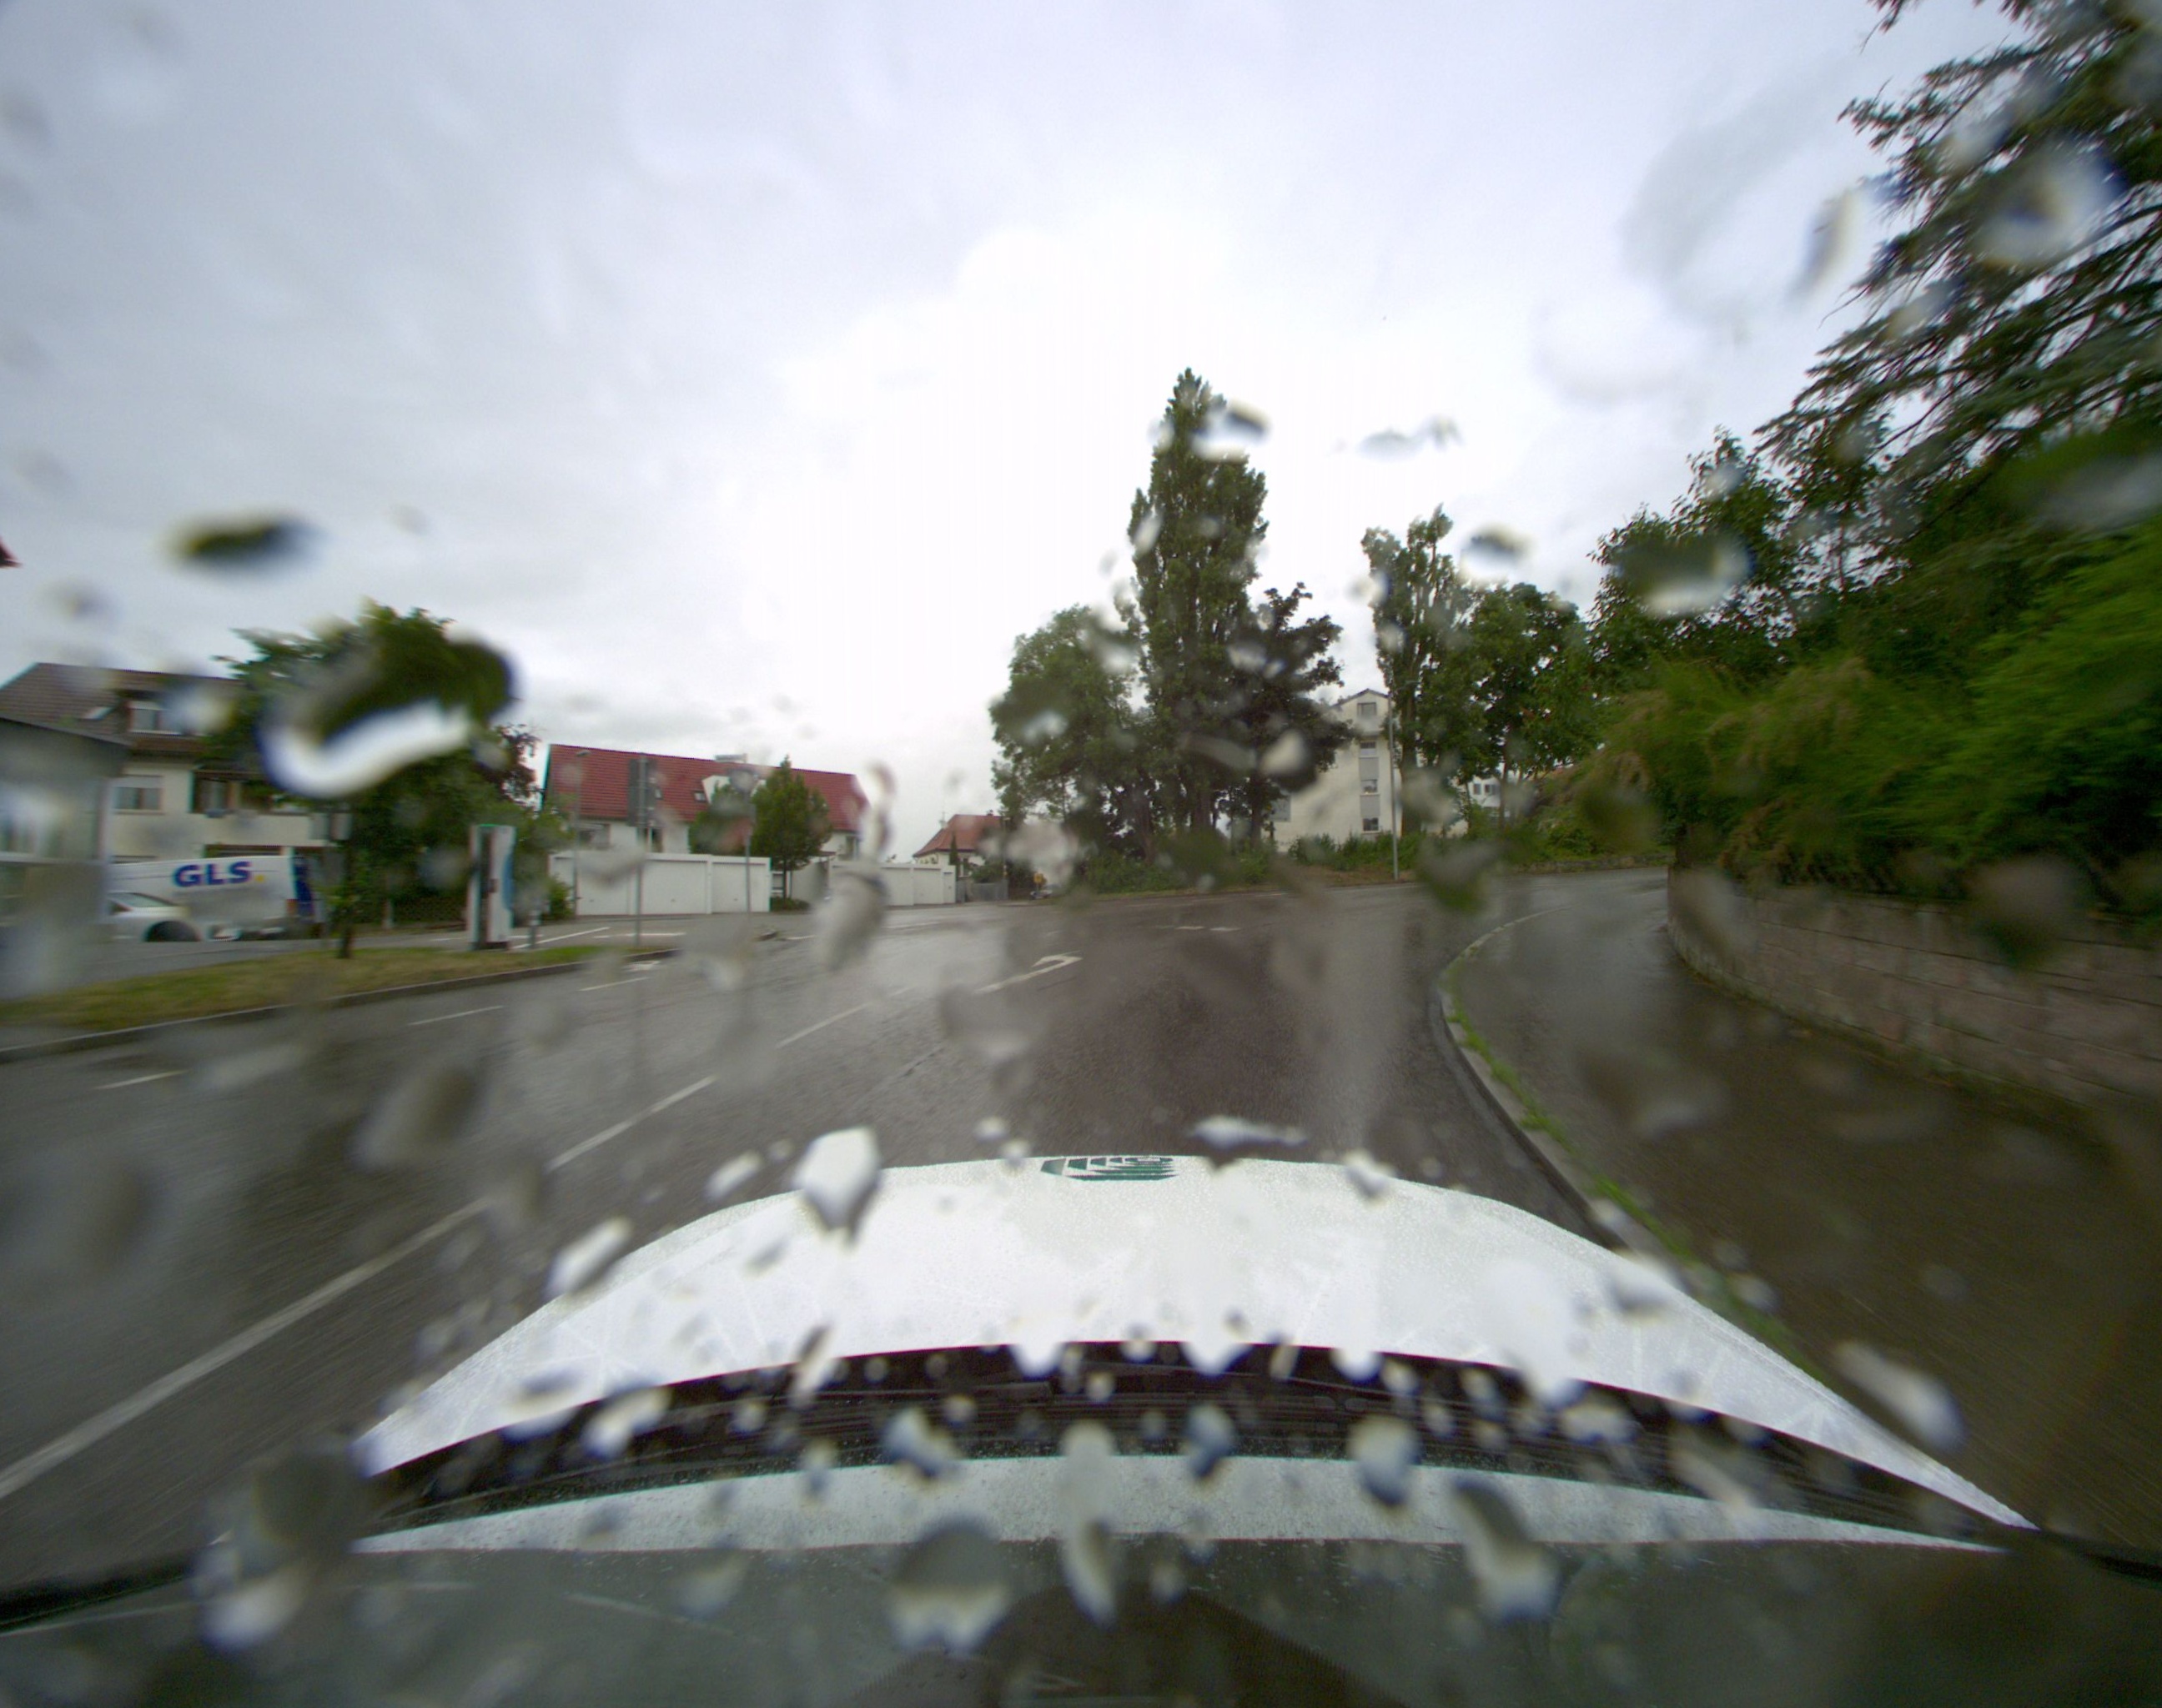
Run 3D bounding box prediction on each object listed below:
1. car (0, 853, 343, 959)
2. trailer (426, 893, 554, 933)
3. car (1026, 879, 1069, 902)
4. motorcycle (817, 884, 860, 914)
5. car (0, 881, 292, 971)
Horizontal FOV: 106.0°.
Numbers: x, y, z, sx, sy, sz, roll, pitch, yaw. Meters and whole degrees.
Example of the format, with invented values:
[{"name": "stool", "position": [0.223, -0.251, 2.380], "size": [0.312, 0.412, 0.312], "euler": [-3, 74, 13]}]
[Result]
[{"name": "car", "position": [-24.993, 1.350, 22.600], "size": [6.259, 2.523, 2.174], "euler": [-2, -1, -22]}, {"name": "trailer", "position": [-18.477, 1.836, 25.584], "size": [2.820, 1.007, 1.585], "euler": [-2, 0, -16]}, {"name": "car", "position": [-2.447, 2.696, 60.353], "size": [1.979, 1.508, 4.016], "euler": [-2, -1, 15]}, {"name": "motorcycle", "position": [-11.568, 2.115, 38.861], "size": [0.700, 1.322, 2.058], "euler": [-3, -1, 27]}, {"name": "car", "position": [-21.257, 1.539, 18.160], "size": [4.792, 1.706, 2.054], "euler": [-2, -1, -19]}]
